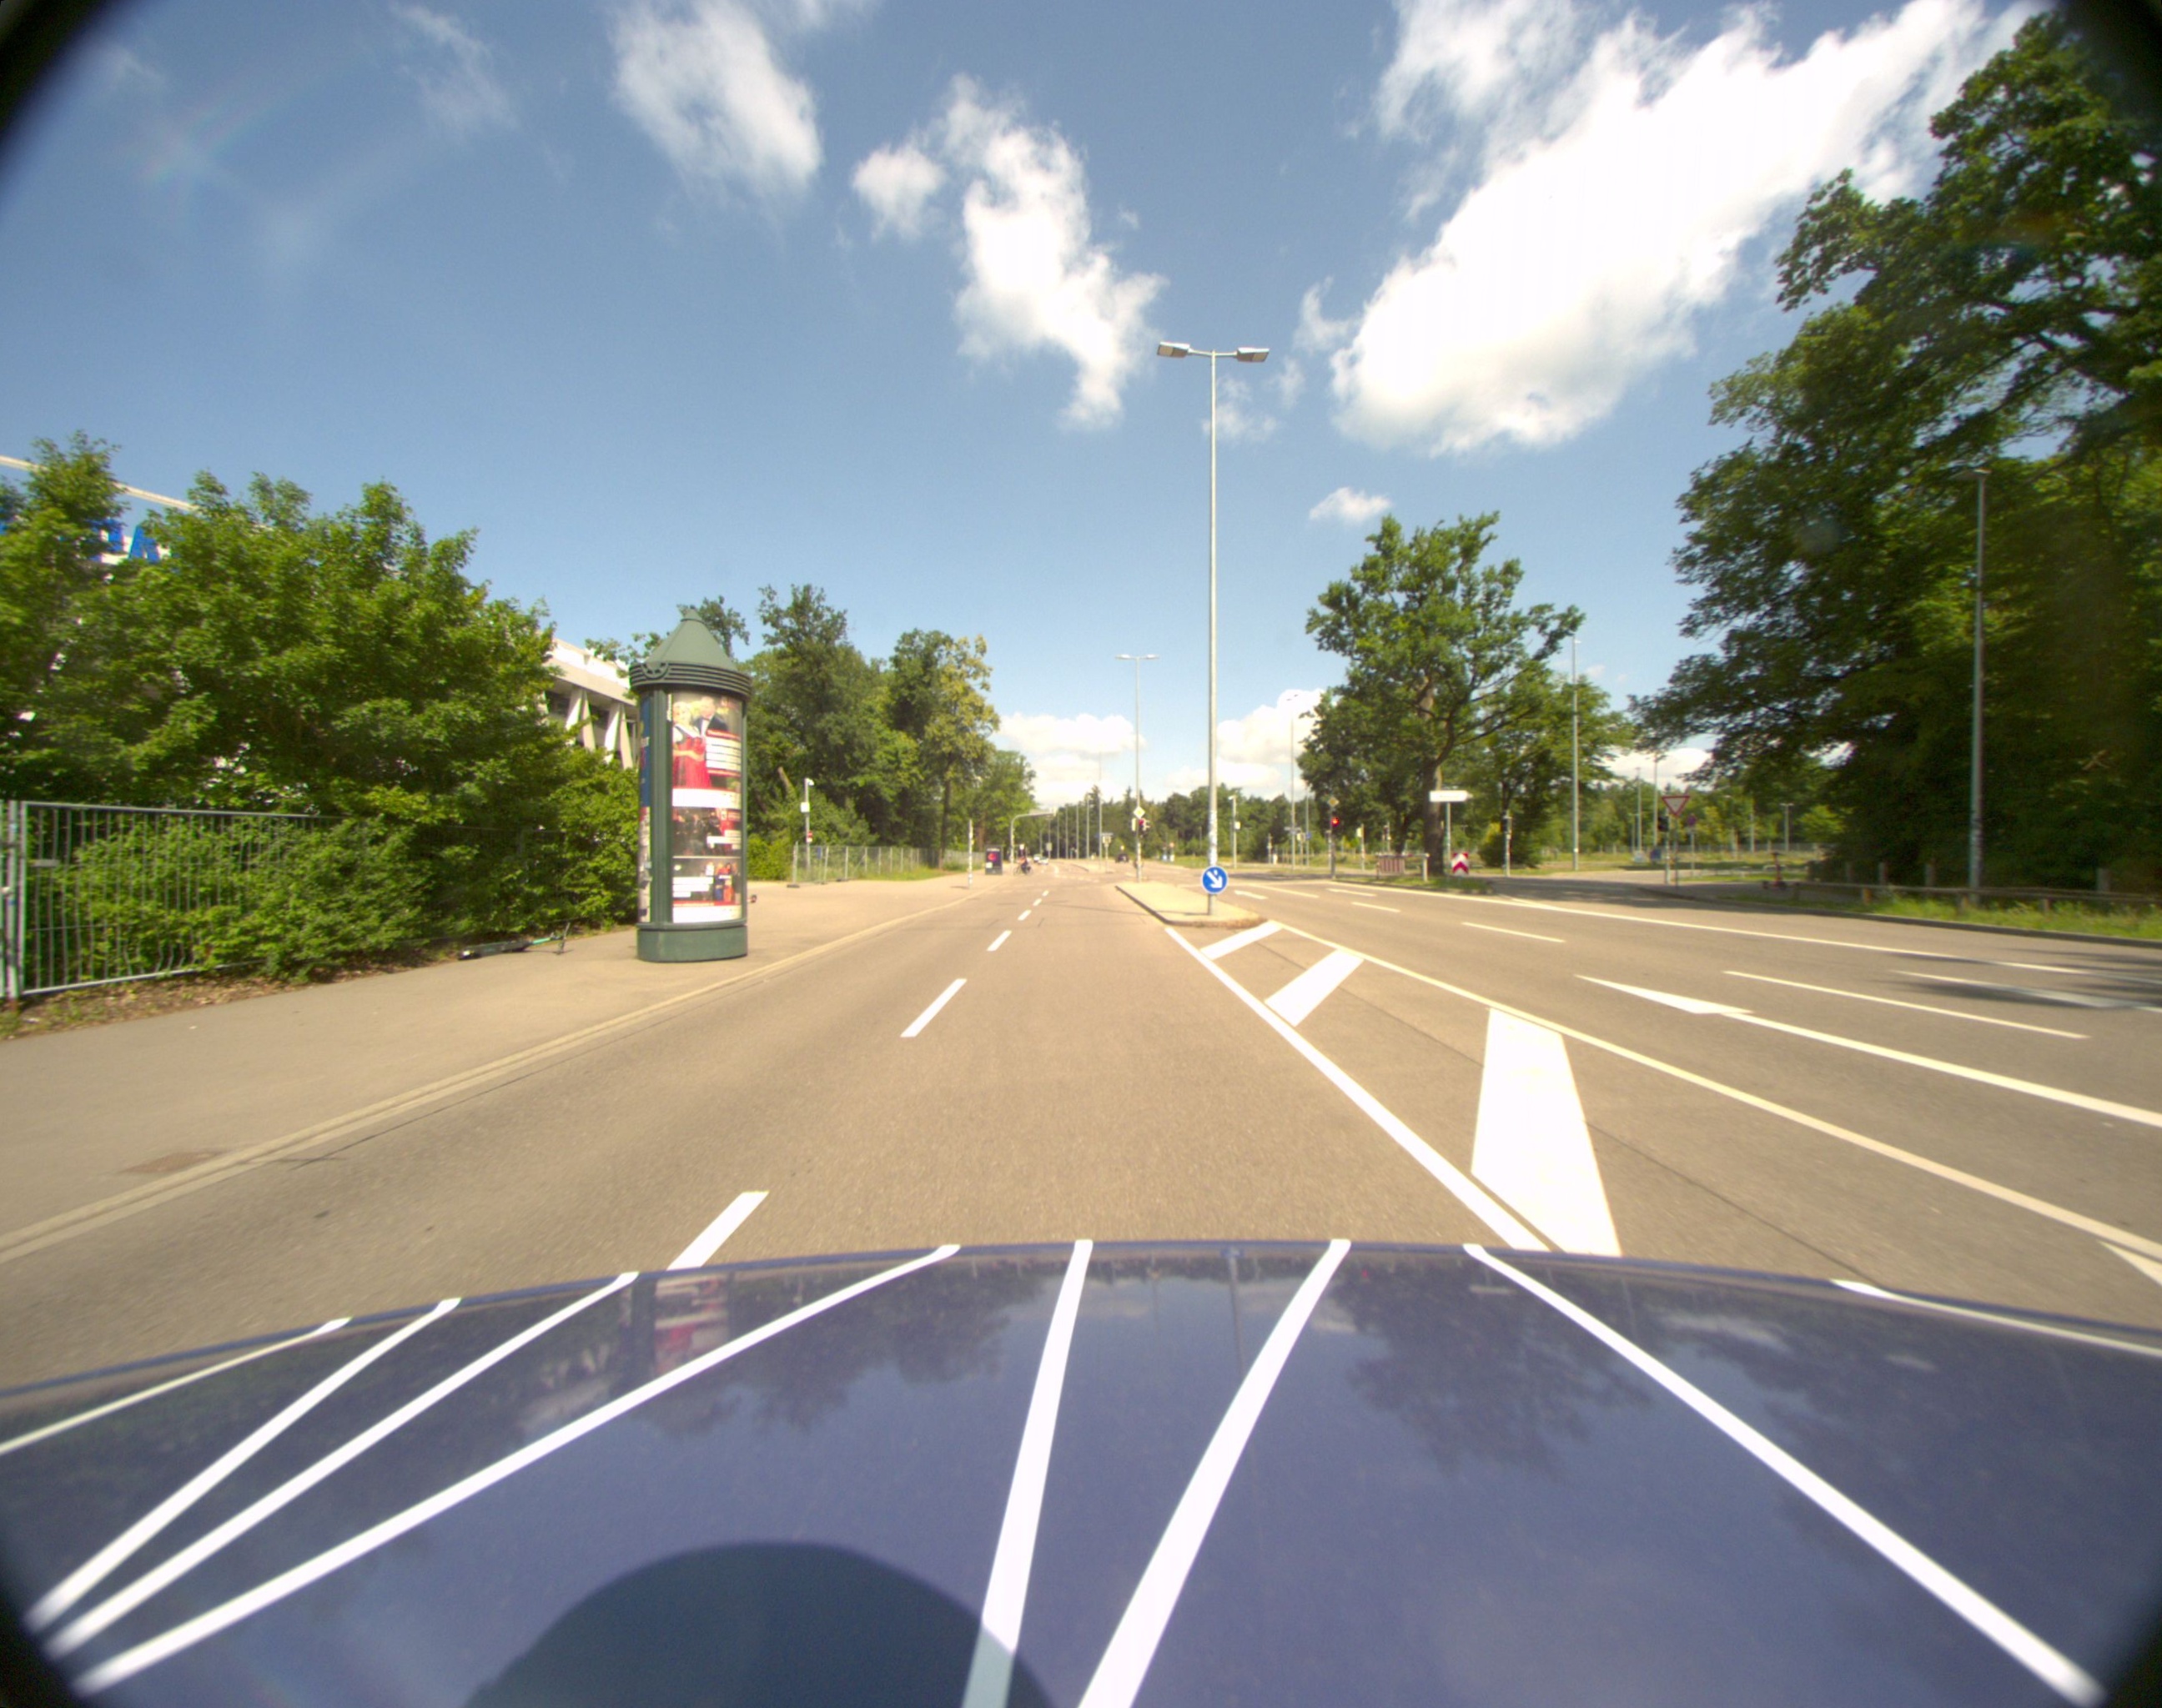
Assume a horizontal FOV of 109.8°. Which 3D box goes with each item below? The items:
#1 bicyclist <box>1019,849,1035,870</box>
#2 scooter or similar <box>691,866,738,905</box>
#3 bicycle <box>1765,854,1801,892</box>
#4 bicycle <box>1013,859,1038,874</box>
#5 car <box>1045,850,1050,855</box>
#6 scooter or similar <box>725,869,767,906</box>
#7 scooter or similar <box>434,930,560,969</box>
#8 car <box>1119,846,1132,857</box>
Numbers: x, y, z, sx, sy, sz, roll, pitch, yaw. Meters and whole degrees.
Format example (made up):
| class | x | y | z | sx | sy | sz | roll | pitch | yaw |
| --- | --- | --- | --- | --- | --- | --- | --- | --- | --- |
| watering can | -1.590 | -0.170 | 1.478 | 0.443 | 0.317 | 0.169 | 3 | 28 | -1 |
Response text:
| class | x | y | z | sx | sy | sz | roll | pitch | yaw |
| --- | --- | --- | --- | --- | --- | --- | --- | --- | --- |
| bicyclist | -4.582 | 0.469 | 64.438 | 0.980 | 1.787 | 0.885 | -2 | 1 | -25 |
| scooter or similar | -12.037 | 1.027 | 24.984 | 1.311 | 1.245 | 0.407 | 0 | 1 | -7 |
| bicycle | 22.364 | 0.590 | 24.225 | 0.420 | 1.166 | 1.231 | -1 | 1 | 22 |
| bicycle | -4.707 | 1.043 | 64.389 | 1.900 | 1.199 | 0.881 | -2 | 1 | -26 |
| car | -11.228 | -0.468 | 251.730 | 1.580 | 1.471 | 3.569 | -2 | 1 | -3 |
| scooter or similar | -10.955 | 1.080 | 24.887 | 0.406 | 1.193 | 1.314 | 1 | 0 | 26 |
| scooter or similar | -9.117 | 1.481 | 11.942 | 0.855 | 0.386 | 1.473 | 0 | 1 | -2 |
| car | 7.915 | -0.445 | 136.087 | 1.980 | 1.754 | 4.707 | -2 | 0 | 0 |
